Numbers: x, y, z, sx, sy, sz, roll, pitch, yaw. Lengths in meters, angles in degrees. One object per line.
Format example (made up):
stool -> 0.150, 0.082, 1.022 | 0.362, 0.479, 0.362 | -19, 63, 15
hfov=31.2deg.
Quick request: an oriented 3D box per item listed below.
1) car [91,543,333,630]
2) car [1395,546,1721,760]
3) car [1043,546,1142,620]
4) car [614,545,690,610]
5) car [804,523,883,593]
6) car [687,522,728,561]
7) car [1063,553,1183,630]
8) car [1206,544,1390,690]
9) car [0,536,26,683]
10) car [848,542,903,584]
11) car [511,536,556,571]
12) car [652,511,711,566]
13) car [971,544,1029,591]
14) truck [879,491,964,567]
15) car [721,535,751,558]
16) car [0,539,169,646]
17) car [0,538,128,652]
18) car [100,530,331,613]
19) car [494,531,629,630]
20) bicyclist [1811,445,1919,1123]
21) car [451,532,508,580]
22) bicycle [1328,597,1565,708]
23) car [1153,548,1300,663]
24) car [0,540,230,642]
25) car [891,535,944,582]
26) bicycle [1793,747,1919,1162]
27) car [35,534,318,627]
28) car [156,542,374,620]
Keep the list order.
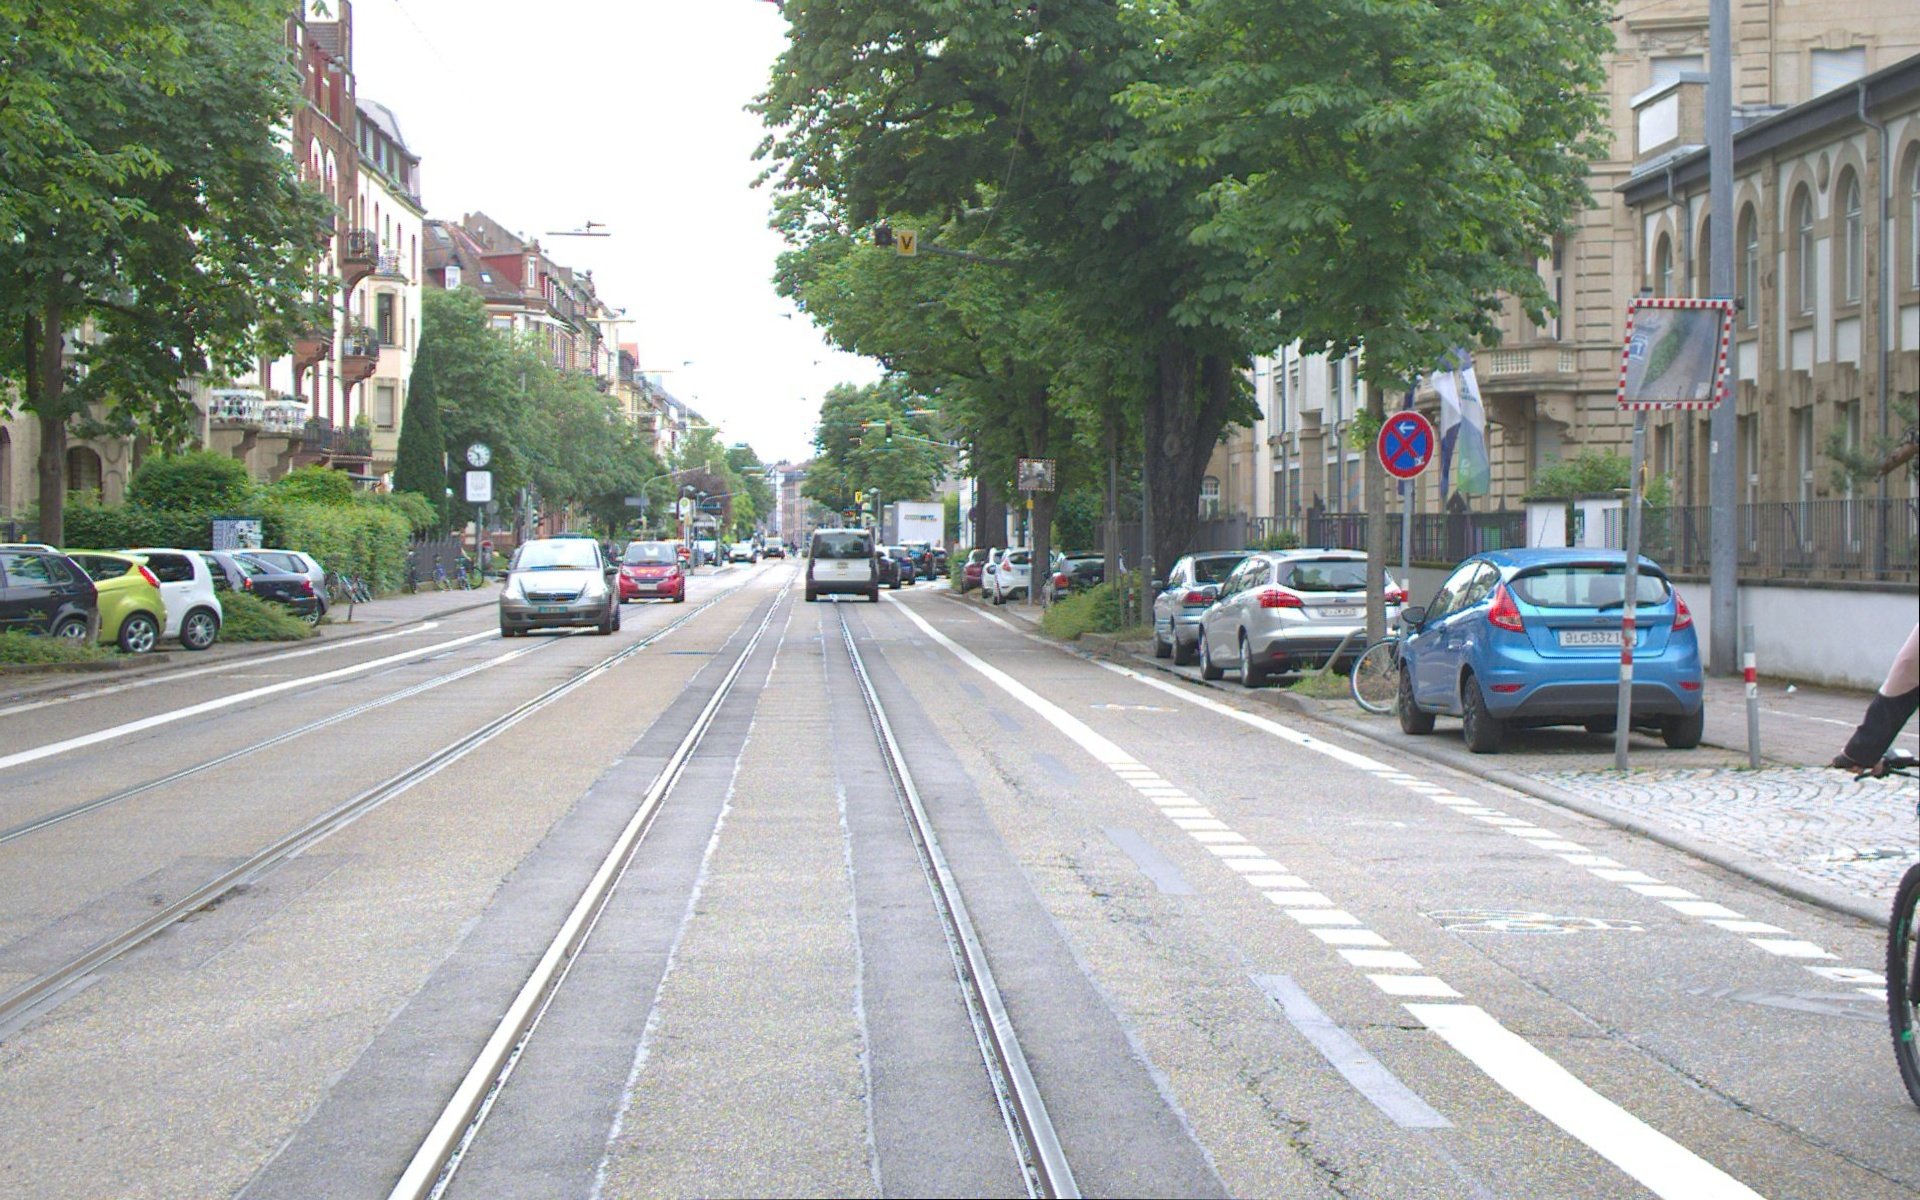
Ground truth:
car -> -12.743, -0.223, 58.569 | 3.707, 1.381, 1.700 | 1, 1, -26
car -> 4.393, 0.345, 25.714 | 1.674, 1.455, 3.433 | 1, 1, -3
car -> 2.560, -0.350, 67.260 | 1.791, 1.394, 3.795 | 0, 1, 0
car -> -7.467, -0.545, 83.534 | 1.676, 1.517, 2.782 | 1, 0, -2
car -> -2.912, -1.049, 86.388 | 1.812, 1.702, 3.699 | 1, 0, 0
car -> -14.652, -3.413, 199.707 | 2.205, 2.248, 4.001 | 0, 1, -2
car -> 2.761, -0.173, 59.094 | 1.873, 1.247, 4.000 | 0, 1, 0
car -> 3.654, 0.150, 37.638 | 1.475, 1.476, 3.566 | 1, 1, -3
car -> -11.908, 0.074, 35.052 | 1.699, 1.530, 4.335 | 2, 1, 43
car -> -2.879, -1.271, 118.012 | 1.770, 1.394, 3.795 | 0, 1, 0
car -> -16.757, -1.824, 135.213 | 1.641, 1.349, 3.878 | 0, 1, -6
car -> -12.591, -2.791, 155.524 | 2.205, 2.409, 4.000 | 0, 1, 2
car -> 1.220, -1.018, 106.623 | 1.770, 1.394, 3.795 | 0, 1, 0
truck -> -2.167, -3.871, 187.180 | 3.807, 4.015, 10.220 | 0, 1, -5
car -> -15.705, -3.763, 241.226 | 1.772, 1.638, 3.566 | 0, 1, 2
car -> -12.473, -0.108, 44.713 | 1.699, 1.347, 3.958 | 2, 1, 43
car -> -12.239, -0.076, 41.518 | 1.699, 1.347, 3.958 | 2, 1, 43
car -> -13.305, -0.507, 61.449 | 3.707, 1.381, 1.700 | 1, 1, -26
car -> -6.472, -0.343, 56.188 | 1.900, 1.525, 3.755 | -1, 1, -2
bicyclist -> 2.581, 0.428, 8.592 | 0.658, 1.605, 0.920 | 0, 1, -1
car -> -22.421, -2.056, 160.566 | 2.177, 2.199, 4.219 | 0, 1, -1
bicycle -> 4.301, 0.460, 30.445 | 2.012, 0.953, 0.534 | 0, 1, -6
car -> 3.435, 0.044, 44.787 | 1.475, 1.424, 3.566 | 0, 1, -3
car -> -12.324, -0.133, 47.860 | 1.699, 1.347, 3.958 | 2, 1, 43
car -> -1.660, -1.642, 133.417 | 1.993, 1.787, 4.000 | 0, 1, -1
bicycle -> 2.640, 0.915, 8.756 | 0.489, 0.976, 2.057 | 1, 0, -1
car -> -12.053, -0.292, 53.042 | 1.699, 1.347, 3.958 | 2, 1, 43
car -> -13.152, -0.364, 65.022 | 3.707, 1.381, 1.700 | 1, 1, -26
